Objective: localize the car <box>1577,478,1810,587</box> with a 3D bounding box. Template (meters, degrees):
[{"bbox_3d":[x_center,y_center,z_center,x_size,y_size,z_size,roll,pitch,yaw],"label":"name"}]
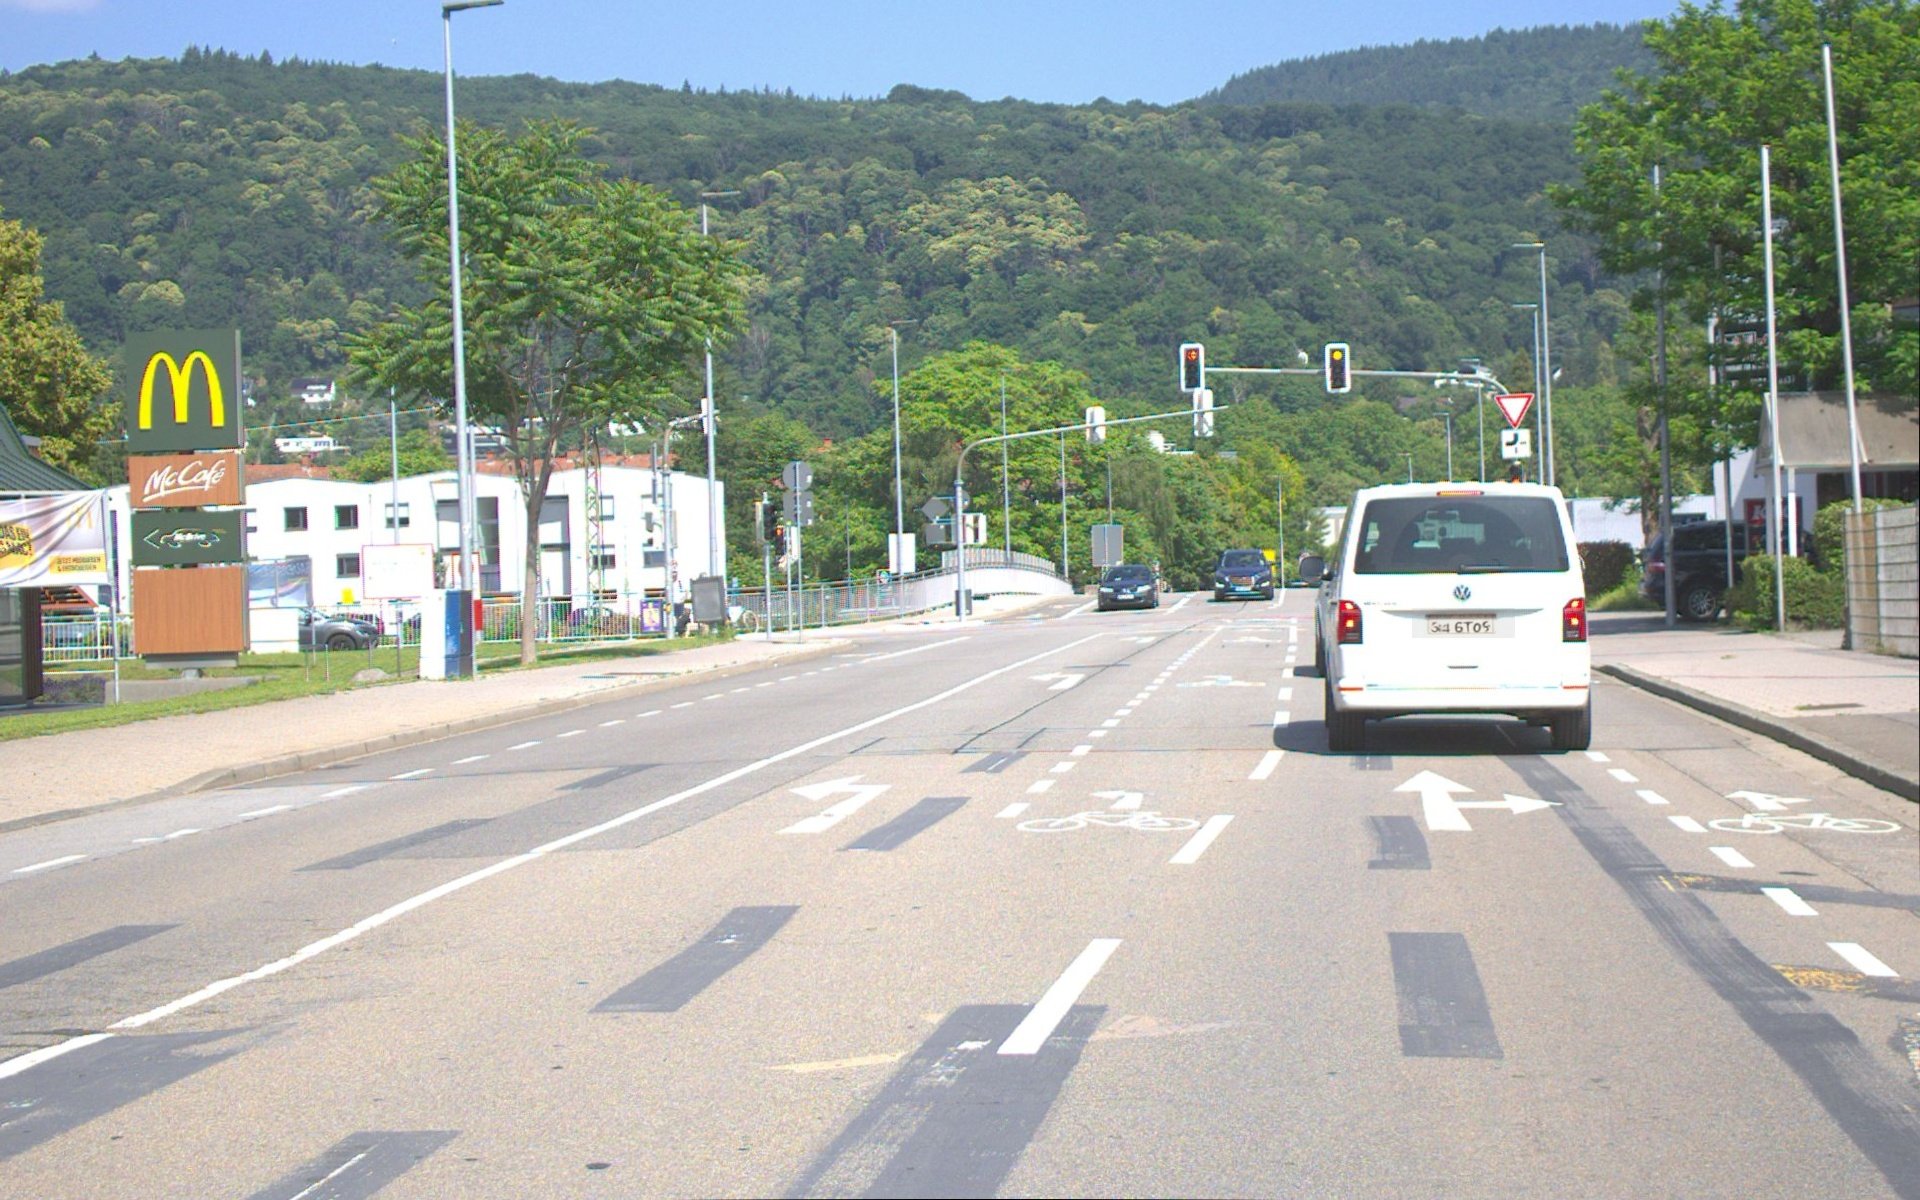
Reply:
[{"bbox_3d":[13.187,-1.217,61.861,3.989,1.769,1.999,-2,1,12],"label":"car"}]

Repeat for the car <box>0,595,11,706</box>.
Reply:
[{"bbox_3d":[-13.558,0.687,42.609,1.994,1.411,4.128,1,2,8],"label":"car"}]

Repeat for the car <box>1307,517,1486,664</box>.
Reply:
[{"bbox_3d":[5.238,-0.160,41.703,1.935,1.681,4.544,0,1,4],"label":"car"}]

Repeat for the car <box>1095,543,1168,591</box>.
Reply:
[{"bbox_3d":[5.412,-1.053,108.288,1.994,1.365,4.326,-2,1,6],"label":"car"}]

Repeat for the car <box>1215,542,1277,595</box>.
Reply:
[{"bbox_3d":[9.324,-1.049,111.722,1.850,1.583,3.999,-2,1,6],"label":"car"}]

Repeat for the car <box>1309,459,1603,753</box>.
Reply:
[{"bbox_3d":[3.716,-0.024,26.464,1.935,2.052,4.544,1,2,5],"label":"car"}]

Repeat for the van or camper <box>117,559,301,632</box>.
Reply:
[{"bbox_3d":[-16.906,-0.106,77.494,3.986,1.568,2.001,0,2,-12],"label":"van or camper"}]

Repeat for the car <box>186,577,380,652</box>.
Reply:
[{"bbox_3d":[-16.326,0.338,83.048,4.314,1.587,2.000,-2,1,-3],"label":"car"}]

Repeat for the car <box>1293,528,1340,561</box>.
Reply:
[{"bbox_3d":[17.264,-2.689,166.462,1.994,1.524,4.044,1,2,2],"label":"car"}]
